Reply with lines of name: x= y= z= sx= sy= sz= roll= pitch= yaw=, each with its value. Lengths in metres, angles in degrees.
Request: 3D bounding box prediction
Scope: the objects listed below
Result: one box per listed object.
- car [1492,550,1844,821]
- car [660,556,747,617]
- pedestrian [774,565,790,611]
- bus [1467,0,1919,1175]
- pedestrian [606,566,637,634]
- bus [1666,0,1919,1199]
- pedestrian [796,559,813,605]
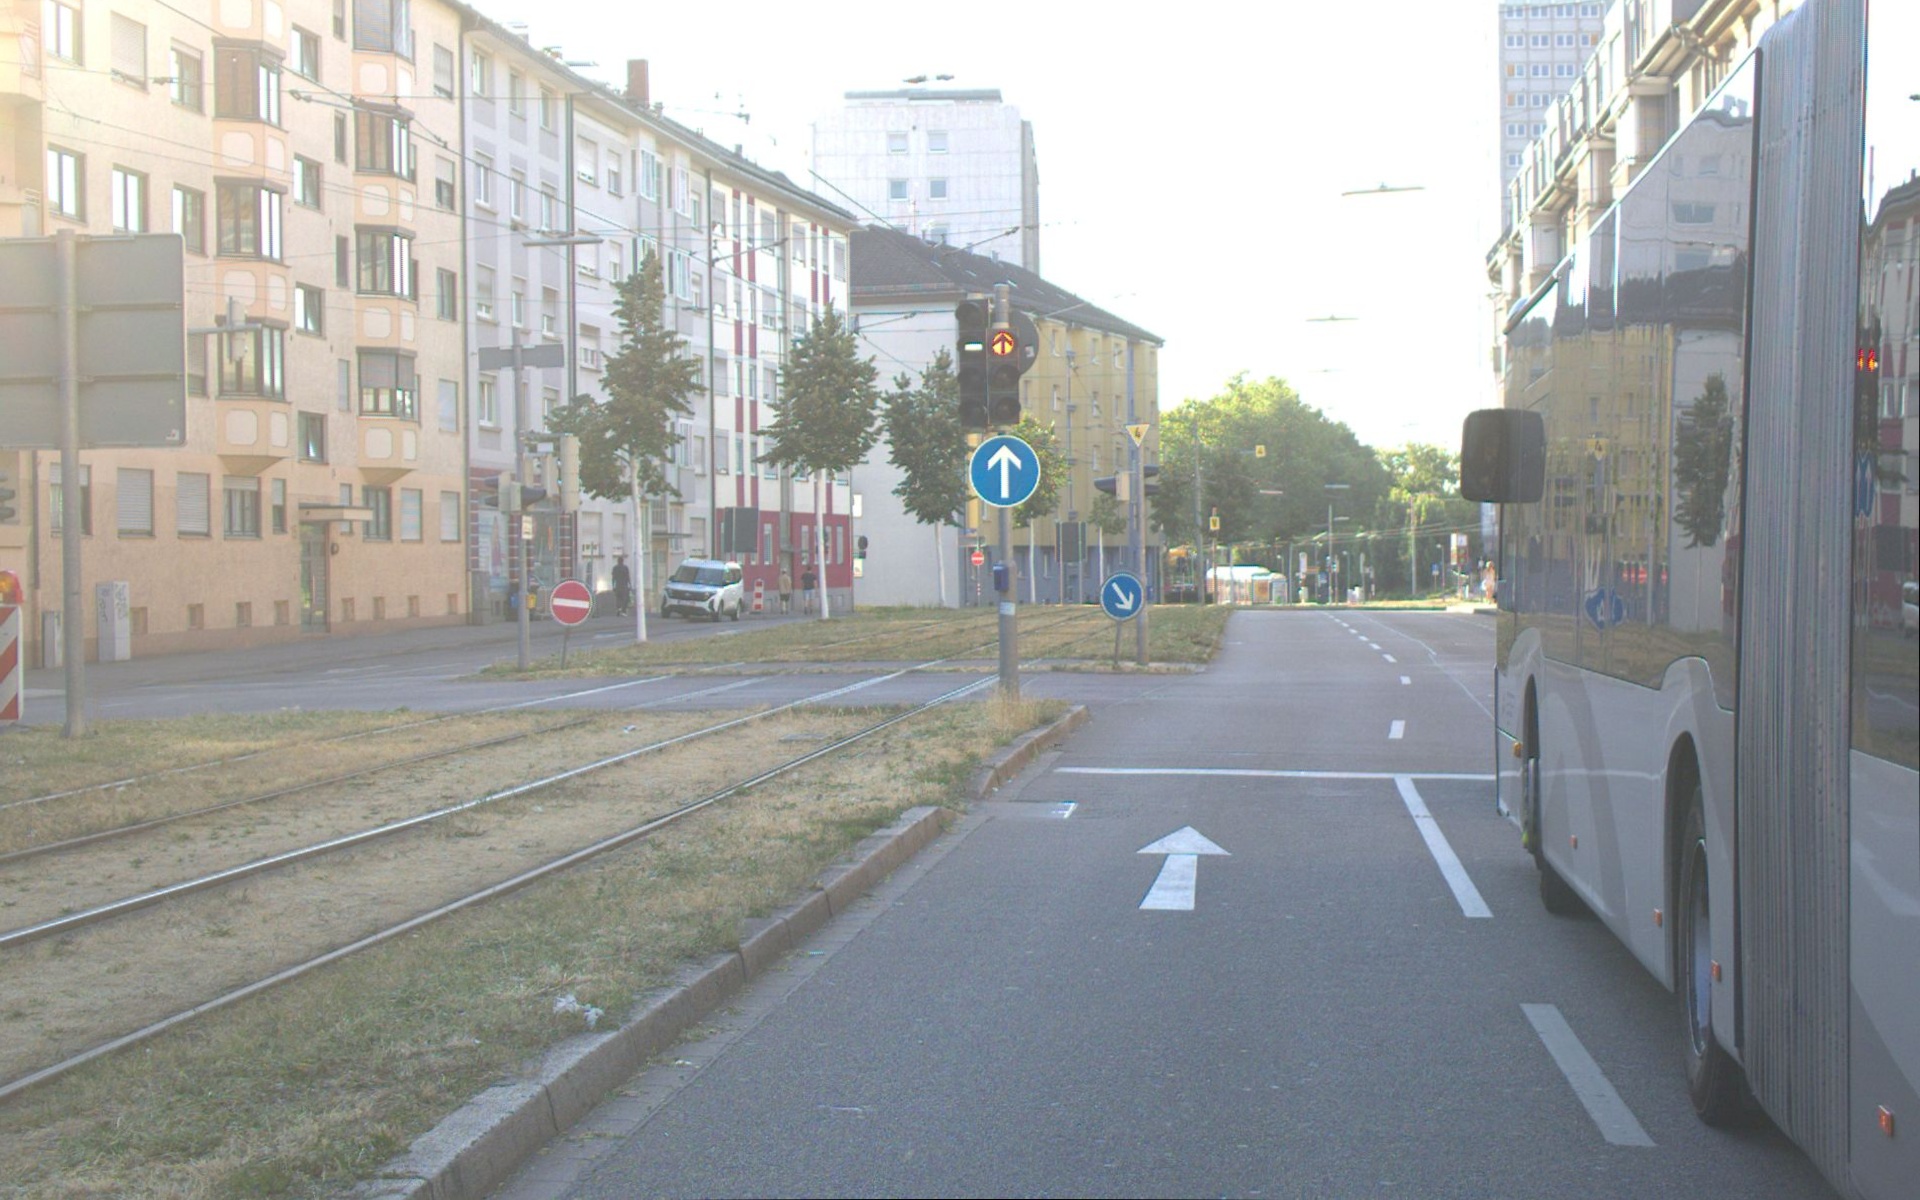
car: x=4.476 y=0.483 z=22.257 sx=1.770 sy=1.570 sz=4.085 roll=-1 pitch=1 yaw=5
car: x=-7.753 y=-0.400 z=104.309 sx=1.812 sy=1.791 sz=4.244 roll=1 pitch=0 yaw=7
pedestrian: x=-6.418 y=-0.422 z=123.847 sx=0.495 sy=1.652 sz=0.408 roll=-1 pitch=0 yaw=6
bus: x=3.580 y=-0.127 z=13.029 sx=2.739 sy=3.045 sz=9.129 roll=1 pitch=1 yaw=5
pedestrian: x=-10.111 y=0.006 z=102.621 sx=0.786 sy=2.007 sz=0.891 roll=-1 pitch=0 yaw=2
bus: x=2.759 y=-0.031 z=4.123 sx=2.739 sy=3.045 sz=8.852 roll=1 pitch=1 yaw=5
pedestrian: x=-5.607 y=-0.643 z=123.965 sx=0.495 sy=1.652 sz=0.408 roll=-1 pitch=0 yaw=6
